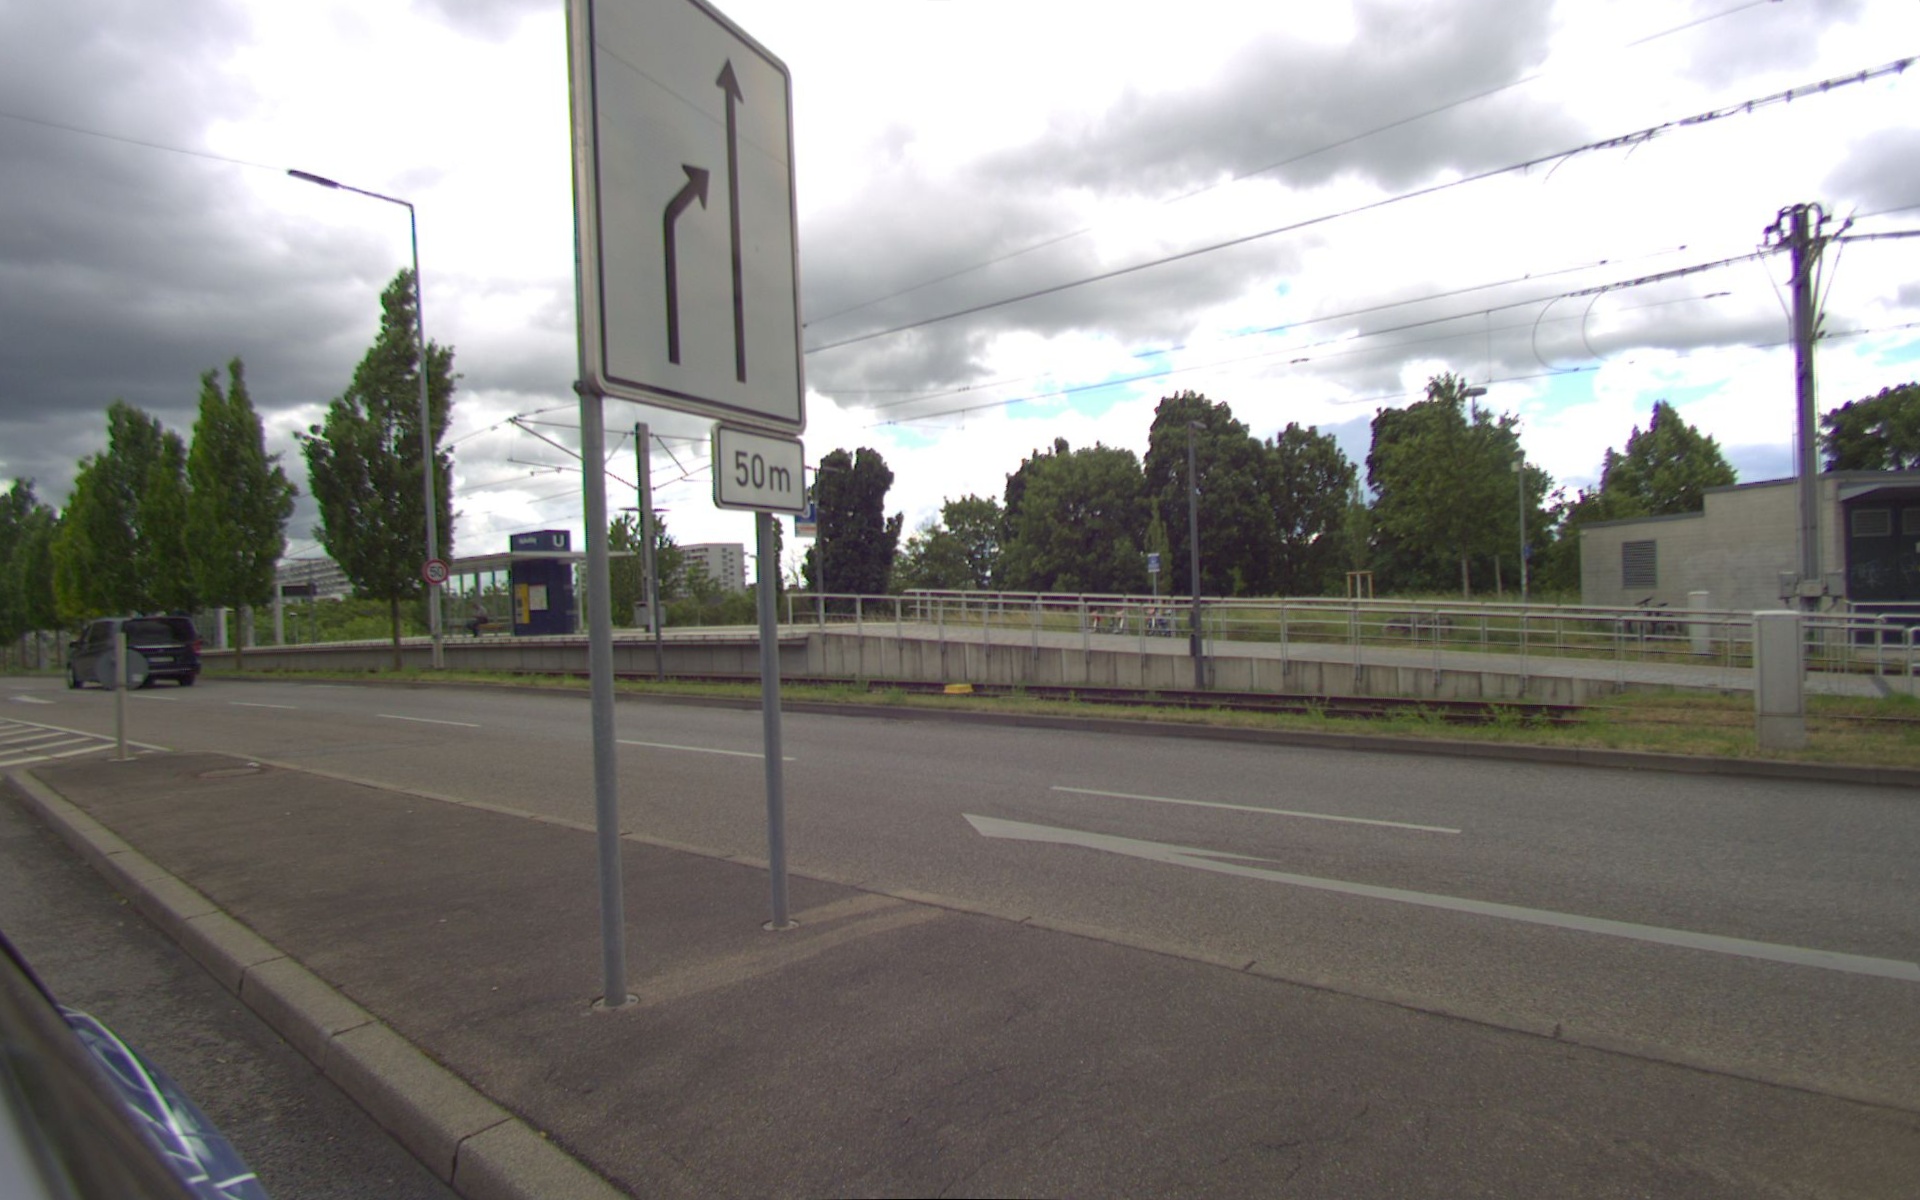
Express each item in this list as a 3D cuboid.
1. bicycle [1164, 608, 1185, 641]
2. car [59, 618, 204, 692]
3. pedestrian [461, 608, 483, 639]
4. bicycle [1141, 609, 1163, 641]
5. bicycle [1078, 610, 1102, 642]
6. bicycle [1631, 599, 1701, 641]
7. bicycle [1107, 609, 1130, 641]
[{"bbox_3d":[7.133,0.805,33.656,0.531,1.039,1.804,-1,0,16],"label":"bicycle"},{"bbox_3d":[-22.473,1.463,27.380,5.083,1.826,1.870,-2,-2,37],"label":"car"},{"bbox_3d":[-18.252,0.869,37.868,0.447,1.163,0.593,-1,0,41],"label":"pedestrian"},{"bbox_3d":[6.463,0.828,33.992,0.531,1.039,1.804,-1,0,16],"label":"bicycle"},{"bbox_3d":[4.507,0.885,34.935,0.531,1.039,1.804,-1,0,16],"label":"bicycle"},{"bbox_3d":[18.181,0.499,26.104,0.529,1.039,1.813,-1,0,1],"label":"bicycle"},{"bbox_3d":[5.407,0.845,34.445,0.531,1.039,1.804,-1,0,16],"label":"bicycle"}]
